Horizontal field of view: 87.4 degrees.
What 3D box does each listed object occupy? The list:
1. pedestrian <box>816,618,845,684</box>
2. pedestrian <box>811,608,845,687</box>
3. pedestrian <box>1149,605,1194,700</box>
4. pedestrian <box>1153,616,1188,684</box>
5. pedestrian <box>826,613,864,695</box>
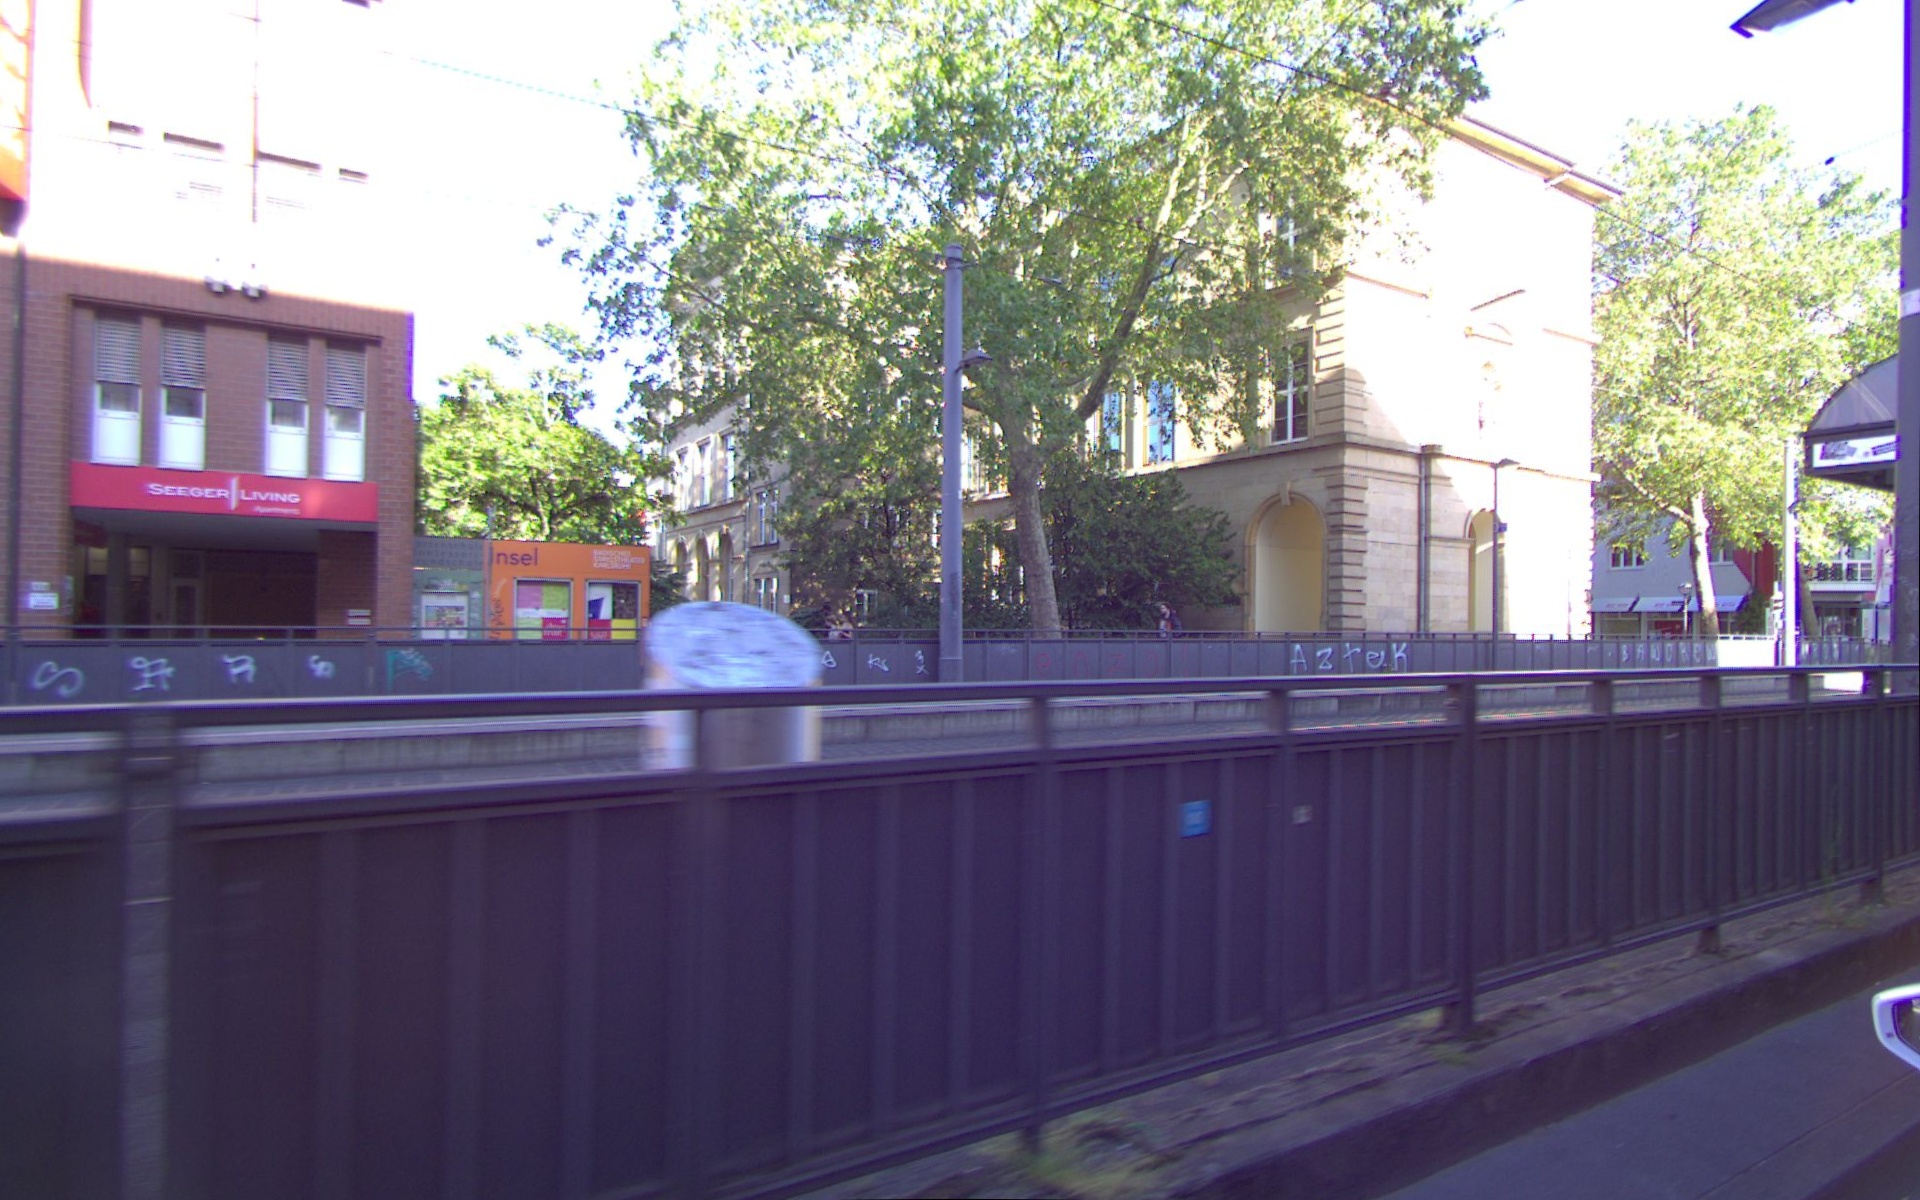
[{"bbox_3d":[-3.094,1.208,23.964,0.468,1.550,0.581,1,0,-29],"label":"pedestrian"},{"bbox_3d":[-3.243,1.169,24.736,0.618,1.907,0.704,1,-1,-26],"label":"pedestrian"},{"bbox_3d":[4.669,1.146,22.167,0.697,2.040,0.681,1,0,-41],"label":"pedestrian"},{"bbox_3d":[5.538,1.308,26.449,0.607,1.735,0.675,1,0,-32],"label":"pedestrian"},{"bbox_3d":[-2.636,1.229,23.004,0.639,1.830,0.684,1,0,-26],"label":"pedestrian"}]
